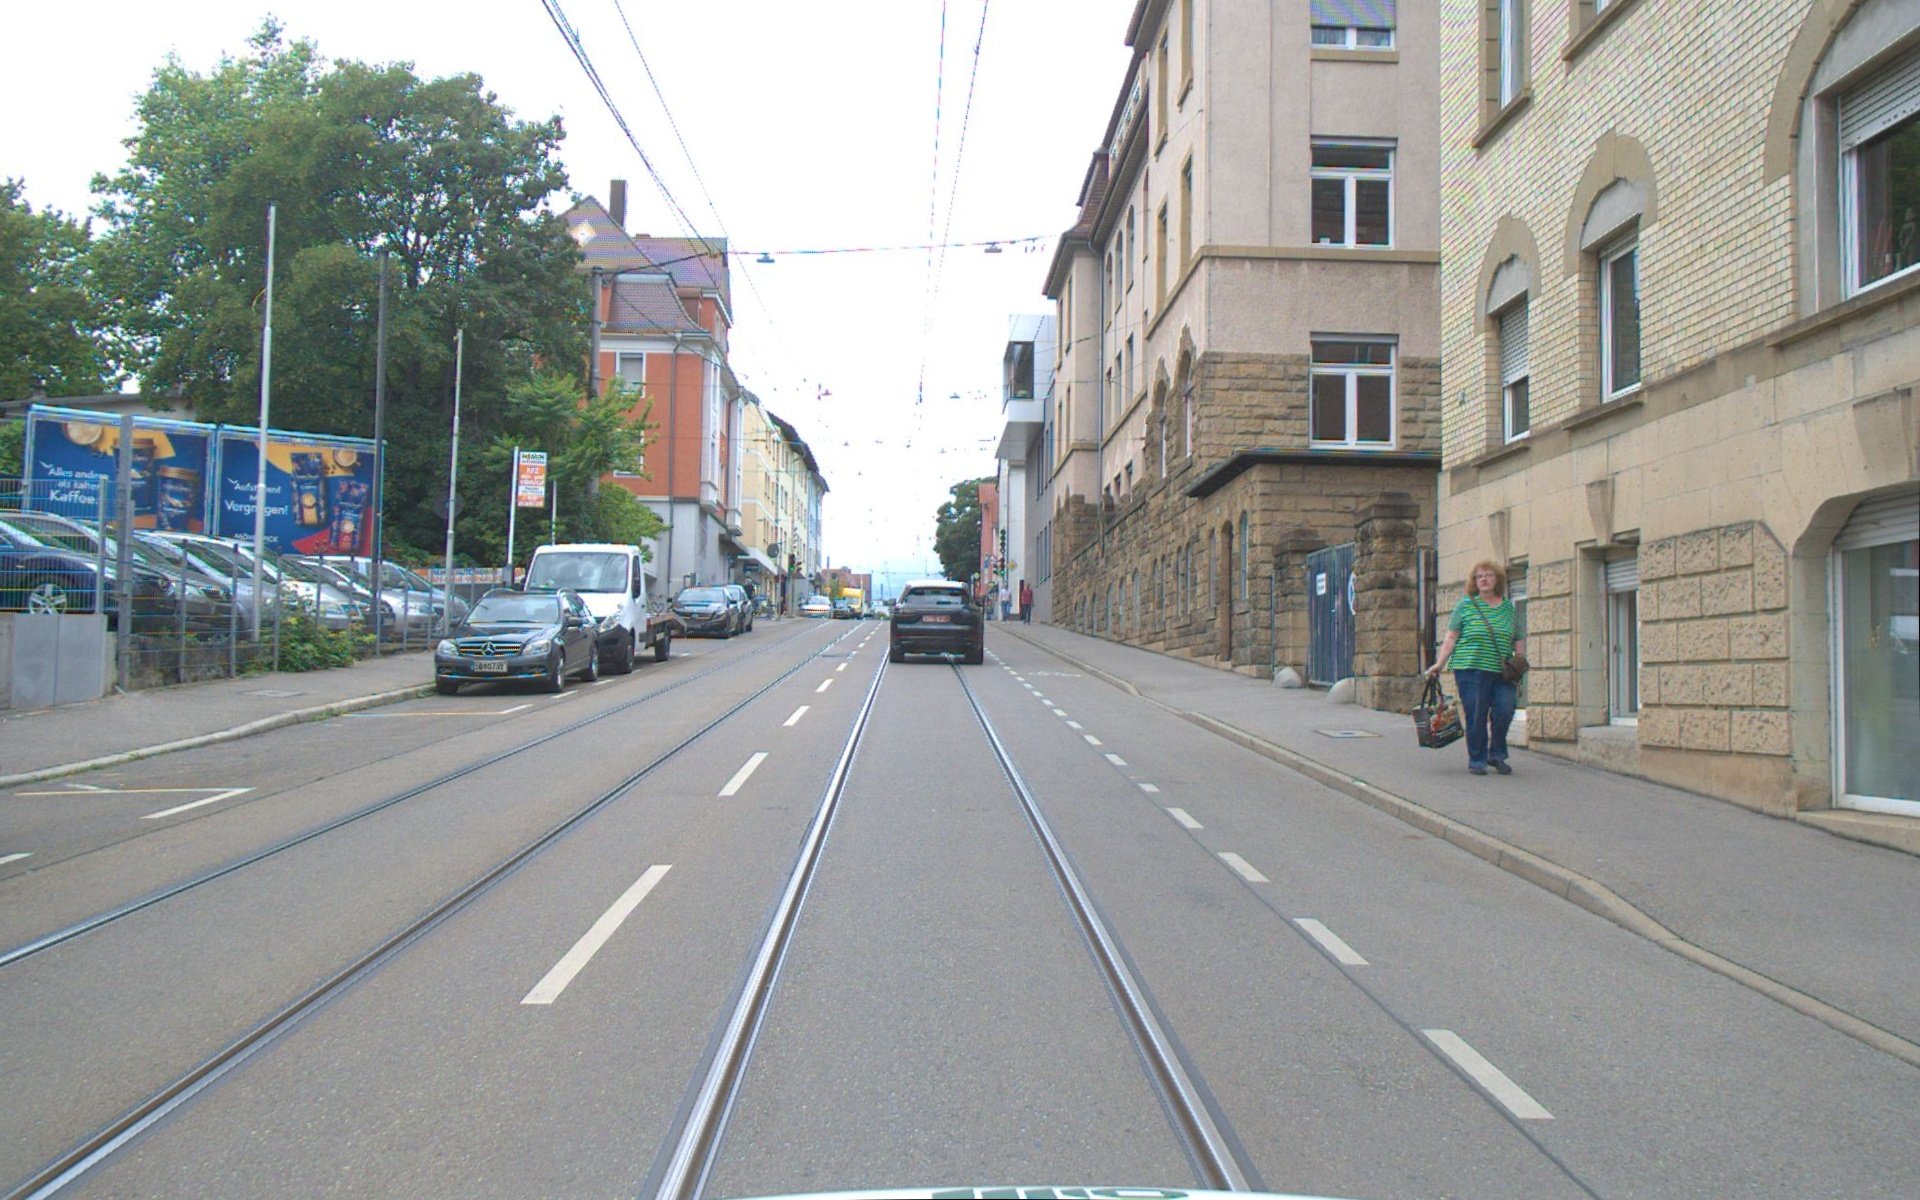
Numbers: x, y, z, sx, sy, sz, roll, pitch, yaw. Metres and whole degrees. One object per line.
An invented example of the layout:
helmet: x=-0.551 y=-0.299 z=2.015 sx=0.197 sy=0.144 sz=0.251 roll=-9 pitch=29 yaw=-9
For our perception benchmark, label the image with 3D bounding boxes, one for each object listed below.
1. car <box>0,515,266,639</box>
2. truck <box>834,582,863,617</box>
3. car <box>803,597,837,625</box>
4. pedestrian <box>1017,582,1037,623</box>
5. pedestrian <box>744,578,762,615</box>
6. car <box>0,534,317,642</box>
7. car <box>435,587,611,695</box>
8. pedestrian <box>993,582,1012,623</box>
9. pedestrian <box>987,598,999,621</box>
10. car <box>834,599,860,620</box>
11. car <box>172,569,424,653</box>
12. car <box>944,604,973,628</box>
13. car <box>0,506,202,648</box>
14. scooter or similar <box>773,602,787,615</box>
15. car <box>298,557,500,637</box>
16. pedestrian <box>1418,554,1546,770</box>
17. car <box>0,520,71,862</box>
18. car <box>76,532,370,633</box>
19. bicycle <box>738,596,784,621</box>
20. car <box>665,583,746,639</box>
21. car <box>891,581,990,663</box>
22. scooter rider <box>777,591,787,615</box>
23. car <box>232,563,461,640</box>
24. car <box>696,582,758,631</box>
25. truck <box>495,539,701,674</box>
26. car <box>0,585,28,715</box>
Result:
car: x=-11.649 y=-0.311 z=22.095 sx=3.978 sy=1.550 sz=1.738 roll=1 pitch=0 yaw=-2
truck: x=-10.228 y=-0.033 z=152.686 sx=2.256 sy=3.090 sz=9.030 roll=1 pitch=0 yaw=-2
car: x=-8.444 y=0.662 z=99.965 sx=1.817 sy=1.635 sz=4.295 roll=1 pitch=0 yaw=-2
pedestrian: x=2.797 y=0.090 z=69.166 sx=0.775 sy=1.696 sz=0.799 roll=1 pitch=0 yaw=1
pedestrian: x=-10.108 y=-0.164 z=80.821 sx=0.759 sy=1.807 sz=0.650 roll=1 pitch=0 yaw=-1
car: x=-11.876 y=-0.176 z=24.548 sx=3.978 sy=1.470 sz=1.687 roll=1 pitch=0 yaw=-2
car: x=-6.502 y=0.552 z=25.074 sx=1.663 sy=1.458 sz=4.479 roll=-1 pitch=0 yaw=-3
pedestrian: x=1.775 y=0.107 z=69.163 sx=0.775 sy=1.696 sz=0.799 roll=1 pitch=0 yaw=1
pedestrian: x=2.390 y=0.679 z=119.959 sx=0.775 sy=1.696 sz=0.799 roll=1 pitch=0 yaw=1
car: x=-9.037 y=0.741 z=132.513 sx=1.817 sy=1.635 sz=4.295 roll=1 pitch=0 yaw=-2
car: x=-11.751 y=0.187 z=29.533 sx=3.798 sy=1.381 sz=1.687 roll=1 pitch=0 yaw=-2
car: x=-0.135 y=1.121 z=118.334 sx=1.953 sy=1.590 sz=4.289 roll=1 pitch=0 yaw=-1
car: x=-11.597 y=-0.331 z=20.025 sx=3.979 sy=1.579 sz=1.687 roll=3 pitch=0 yaw=-2
scooter or similar: x=-12.510 y=0.584 z=114.946 sx=1.007 sy=0.935 sz=0.472 roll=1 pitch=0 yaw=-6
car: x=-11.701 y=-0.062 z=34.715 sx=3.896 sy=1.578 sz=1.681 roll=1 pitch=0 yaw=-17
pedestrian: x=4.260 y=0.494 z=13.533 sx=0.852 sy=1.715 sz=0.664 roll=-1 pitch=0 yaw=5
car: x=-5.819 y=0.494 z=6.942 sx=1.708 sy=1.766 sz=4.519 roll=-1 pitch=0 yaw=0
car: x=-11.906 y=-0.280 z=26.897 sx=3.978 sy=1.520 sz=1.687 roll=1 pitch=0 yaw=-2
bicycle: x=-8.438 y=0.345 z=70.285 sx=1.872 sy=1.017 sz=0.479 roll=1 pitch=0 yaw=-1
car: x=-7.124 y=0.288 z=46.689 sx=1.677 sy=1.472 sz=4.289 roll=1 pitch=0 yaw=-1
car: x=-0.433 y=0.425 z=35.043 sx=1.953 sy=1.590 sz=4.289 roll=1 pitch=0 yaw=-1
scooter rider: x=-12.389 y=0.218 z=114.960 sx=0.635 sy=1.613 sz=0.765 roll=1 pitch=0 yaw=-6
car: x=-11.837 y=0.022 z=32.096 sx=3.798 sy=1.381 sz=1.687 roll=1 pitch=0 yaw=-2
car: x=-7.324 y=0.201 z=52.276 sx=1.484 sy=1.472 sz=3.709 roll=1 pitch=0 yaw=-1
truck: x=-6.722 y=0.084 z=31.841 sx=2.234 sy=2.226 sz=8.024 roll=1 pitch=0 yaw=-1
car: x=-12.191 y=0.656 z=16.842 sx=4.252 sy=1.369 sz=1.860 roll=-3 pitch=0 yaw=-2
